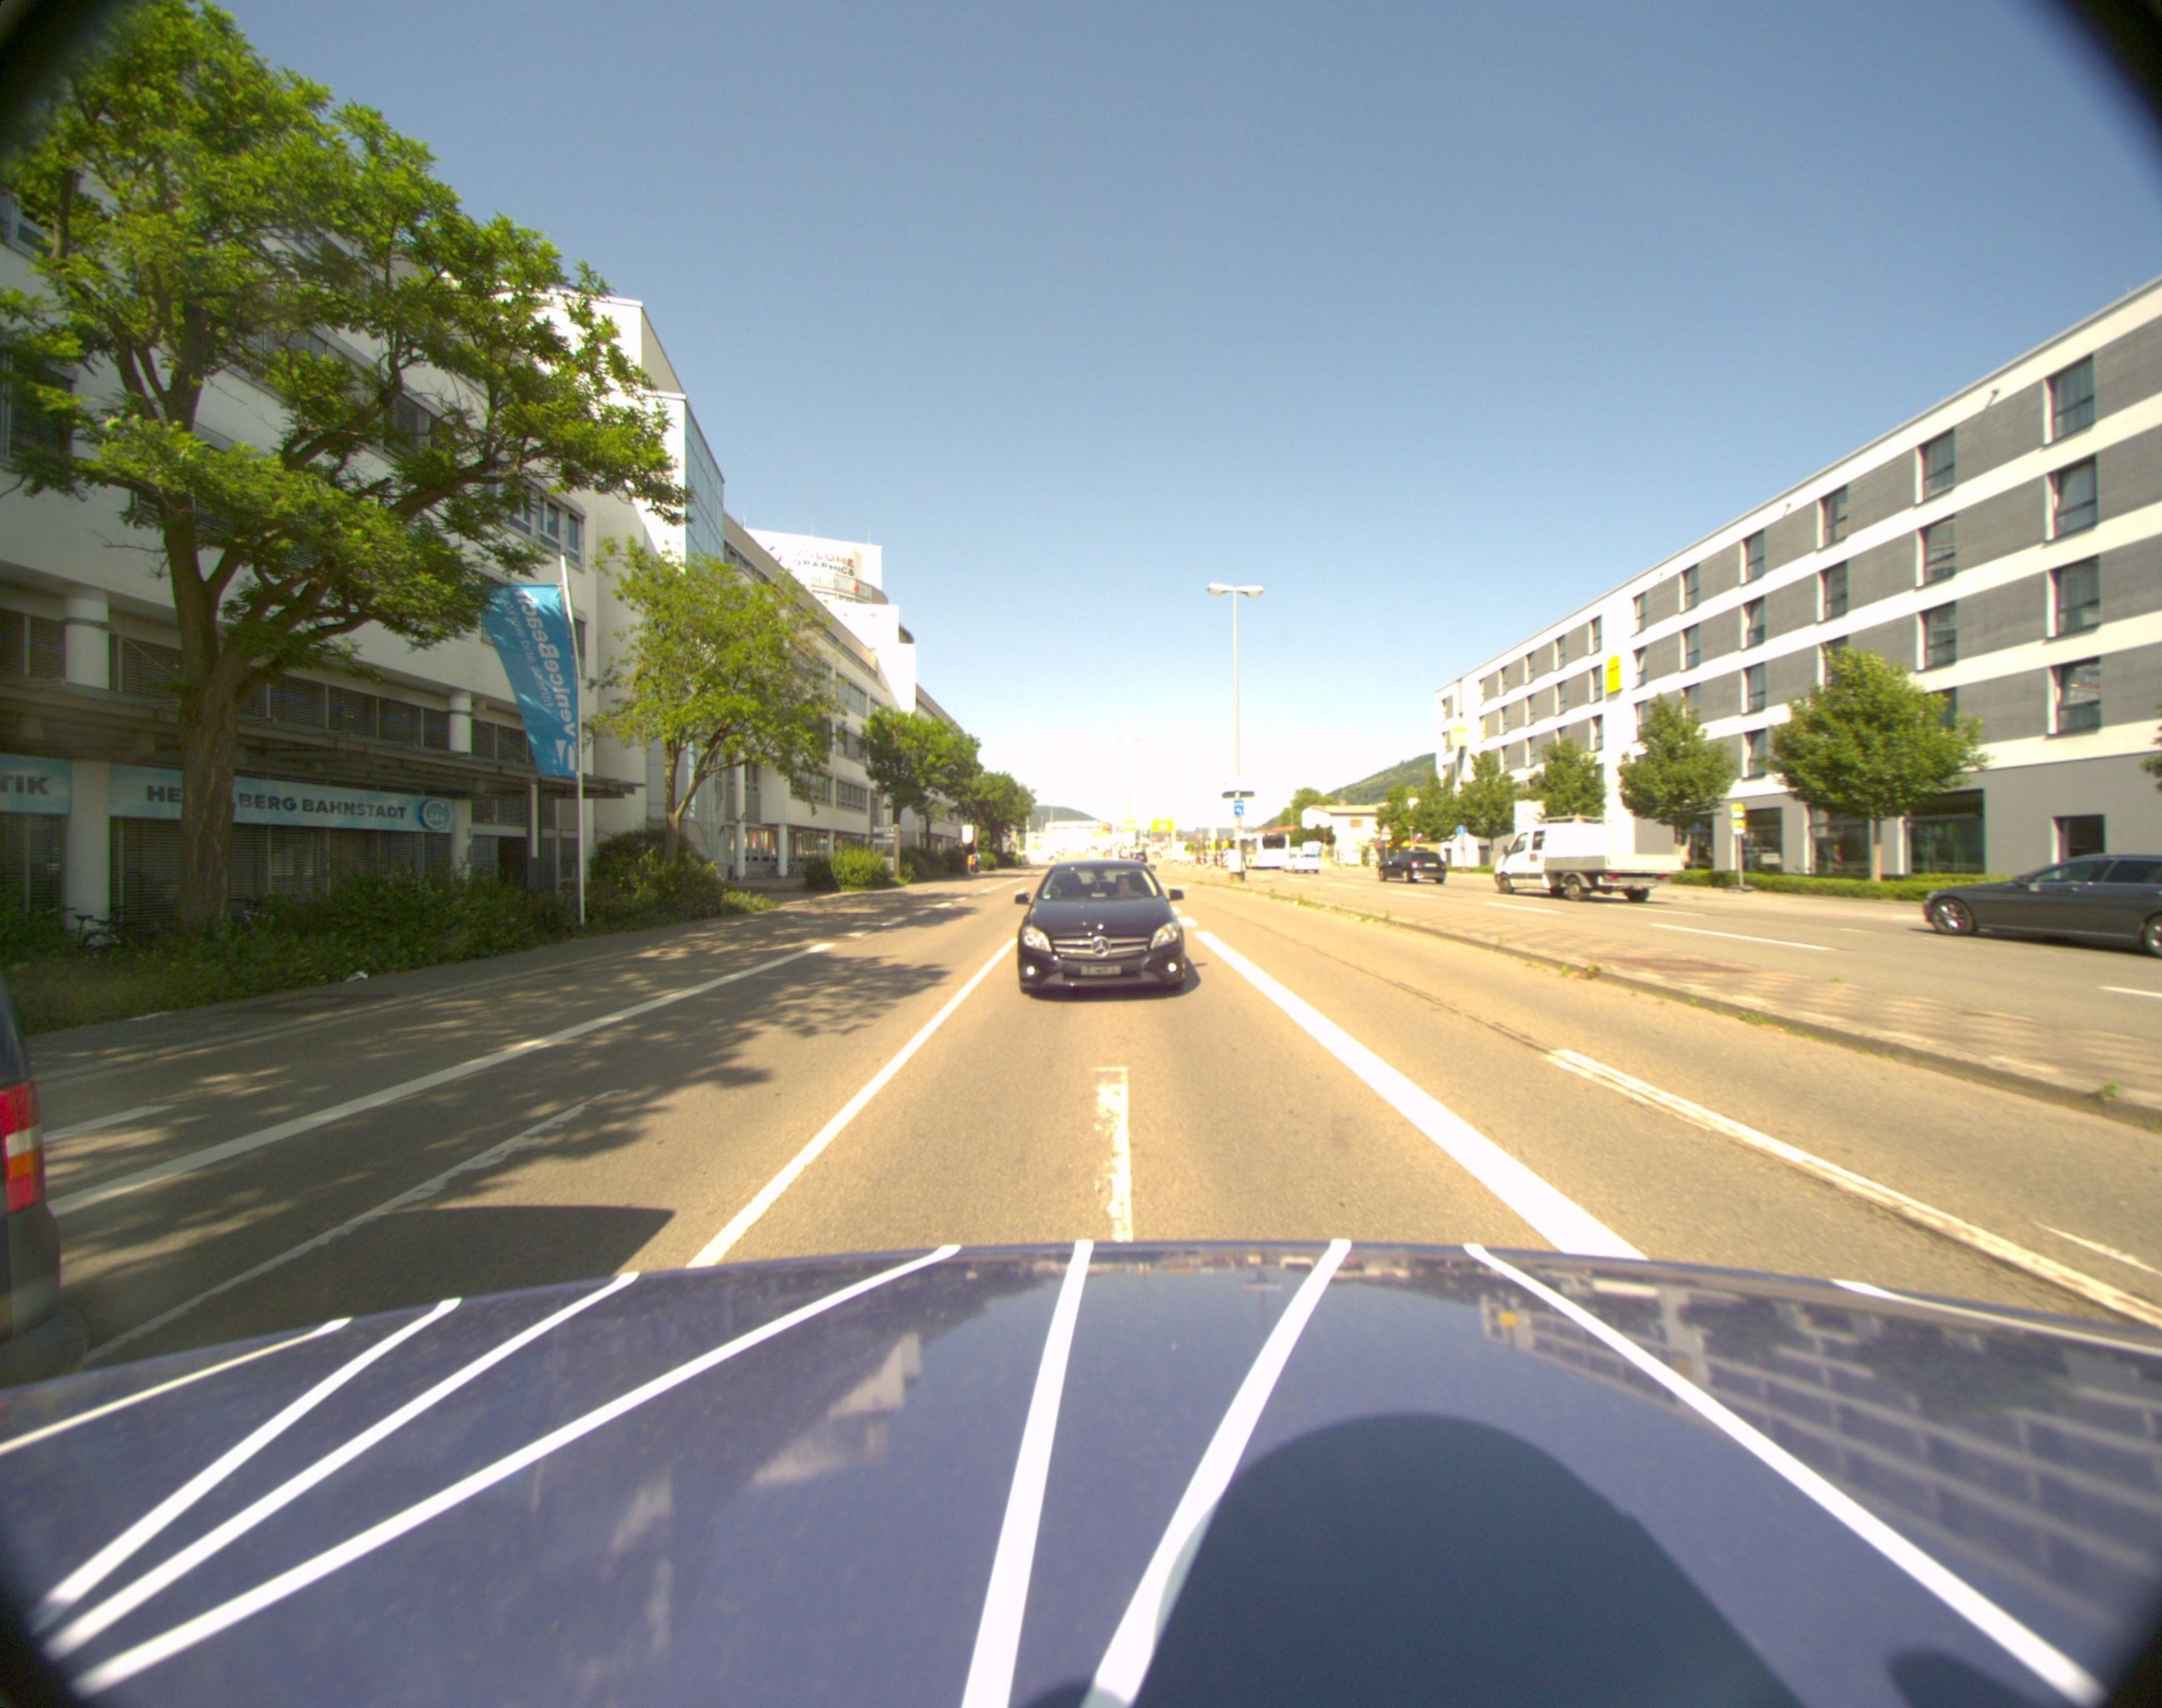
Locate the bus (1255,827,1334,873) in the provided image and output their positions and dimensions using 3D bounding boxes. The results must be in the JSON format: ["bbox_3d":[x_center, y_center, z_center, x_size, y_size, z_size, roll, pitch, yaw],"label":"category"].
[{"bbox_3d":[15.696,-0.342,56.975,2.745,3.061,11.975,1,1,1],"label":"bus"}]

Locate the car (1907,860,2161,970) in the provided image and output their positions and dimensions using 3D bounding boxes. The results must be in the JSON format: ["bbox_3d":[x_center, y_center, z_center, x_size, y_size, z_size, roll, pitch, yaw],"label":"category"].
[{"bbox_3d":[15.541,0.853,11.181,1.960,1.419,4.587,1,1,4],"label":"car"}]

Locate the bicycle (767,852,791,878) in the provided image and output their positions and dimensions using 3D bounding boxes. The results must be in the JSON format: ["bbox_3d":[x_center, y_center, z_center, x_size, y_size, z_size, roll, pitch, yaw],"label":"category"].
[{"bbox_3d":[-16.760,0.598,42.148,0.506,1.346,1.884,-1,1,2],"label":"bicycle"}]

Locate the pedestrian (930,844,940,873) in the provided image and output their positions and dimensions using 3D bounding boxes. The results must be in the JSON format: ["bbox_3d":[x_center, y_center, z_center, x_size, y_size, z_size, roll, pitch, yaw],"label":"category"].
[{"bbox_3d":[-12.963,0.383,67.563,0.717,2.534,0.716,-1,1,0],"label":"pedestrian"}]

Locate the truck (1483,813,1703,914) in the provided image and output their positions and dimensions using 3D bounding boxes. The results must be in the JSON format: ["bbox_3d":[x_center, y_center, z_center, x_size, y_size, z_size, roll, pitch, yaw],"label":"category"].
[{"bbox_3d":[15.281,0.134,23.388,2.363,2.531,6.435,4,2,1],"label":"truck"}]

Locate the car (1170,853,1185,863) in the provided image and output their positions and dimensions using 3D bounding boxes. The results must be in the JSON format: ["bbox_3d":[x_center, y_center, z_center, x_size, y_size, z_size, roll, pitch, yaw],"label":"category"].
[{"bbox_3d":[15.854,0.677,124.893,1.719,1.609,3.590,-1,1,-4],"label":"car"}]

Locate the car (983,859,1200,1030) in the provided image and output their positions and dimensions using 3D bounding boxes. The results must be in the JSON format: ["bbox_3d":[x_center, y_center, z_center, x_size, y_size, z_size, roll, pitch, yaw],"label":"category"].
[{"bbox_3d":[0.174,0.823,9.084,1.905,1.431,4.694,-1,1,2],"label":"car"}]

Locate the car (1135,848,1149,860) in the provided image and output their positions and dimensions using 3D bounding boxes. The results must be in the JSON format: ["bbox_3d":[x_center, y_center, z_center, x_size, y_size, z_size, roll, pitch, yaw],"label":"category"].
[{"bbox_3d":[8.391,-0.067,104.636,1.889,1.608,4.135,-1,0,3],"label":"car"}]

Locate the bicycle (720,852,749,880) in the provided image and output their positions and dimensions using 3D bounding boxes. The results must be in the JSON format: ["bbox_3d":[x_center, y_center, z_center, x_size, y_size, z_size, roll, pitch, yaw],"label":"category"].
[{"bbox_3d":[-17.204,0.571,37.759,0.506,1.346,1.884,-1,1,2],"label":"bicycle"}]

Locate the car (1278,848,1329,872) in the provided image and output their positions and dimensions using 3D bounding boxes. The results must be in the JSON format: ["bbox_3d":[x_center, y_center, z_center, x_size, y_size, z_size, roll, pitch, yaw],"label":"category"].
[{"bbox_3d":[15.478,0.391,53.172,1.999,1.477,4.410,2,1,-4],"label":"car"}]

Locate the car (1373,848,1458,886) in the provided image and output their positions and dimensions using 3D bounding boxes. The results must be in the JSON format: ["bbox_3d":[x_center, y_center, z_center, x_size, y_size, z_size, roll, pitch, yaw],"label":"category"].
[{"bbox_3d":[15.519,0.554,35.541,1.999,1.569,4.411,-2,1,0],"label":"car"}]

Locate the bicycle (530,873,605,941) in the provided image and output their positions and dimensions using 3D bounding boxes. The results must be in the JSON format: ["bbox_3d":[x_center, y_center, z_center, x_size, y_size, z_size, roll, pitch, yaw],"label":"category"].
[{"bbox_3d":[-10.943,1.089,16.262,0.506,1.321,1.883,0,0,-6],"label":"bicycle"}]

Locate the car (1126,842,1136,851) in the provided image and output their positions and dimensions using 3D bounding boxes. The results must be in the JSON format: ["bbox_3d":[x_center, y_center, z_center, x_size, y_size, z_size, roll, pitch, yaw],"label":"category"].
[{"bbox_3d":[11.003,-1.685,168.310,1.998,2.002,4.000,-2,1,2],"label":"car"}]

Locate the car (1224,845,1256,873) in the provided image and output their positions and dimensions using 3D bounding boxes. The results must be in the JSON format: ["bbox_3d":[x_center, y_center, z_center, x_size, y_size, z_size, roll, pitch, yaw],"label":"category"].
[{"bbox_3d":[12.415,0.387,59.518,1.679,2.002,4.164,-2,1,2],"label":"car"}]

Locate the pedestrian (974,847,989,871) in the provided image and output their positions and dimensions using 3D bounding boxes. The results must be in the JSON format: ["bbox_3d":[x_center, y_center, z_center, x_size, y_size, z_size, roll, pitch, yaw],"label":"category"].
[{"bbox_3d":[-7.837,0.389,60.121,0.942,1.876,1.289,2,1,2],"label":"pedestrian"}]
